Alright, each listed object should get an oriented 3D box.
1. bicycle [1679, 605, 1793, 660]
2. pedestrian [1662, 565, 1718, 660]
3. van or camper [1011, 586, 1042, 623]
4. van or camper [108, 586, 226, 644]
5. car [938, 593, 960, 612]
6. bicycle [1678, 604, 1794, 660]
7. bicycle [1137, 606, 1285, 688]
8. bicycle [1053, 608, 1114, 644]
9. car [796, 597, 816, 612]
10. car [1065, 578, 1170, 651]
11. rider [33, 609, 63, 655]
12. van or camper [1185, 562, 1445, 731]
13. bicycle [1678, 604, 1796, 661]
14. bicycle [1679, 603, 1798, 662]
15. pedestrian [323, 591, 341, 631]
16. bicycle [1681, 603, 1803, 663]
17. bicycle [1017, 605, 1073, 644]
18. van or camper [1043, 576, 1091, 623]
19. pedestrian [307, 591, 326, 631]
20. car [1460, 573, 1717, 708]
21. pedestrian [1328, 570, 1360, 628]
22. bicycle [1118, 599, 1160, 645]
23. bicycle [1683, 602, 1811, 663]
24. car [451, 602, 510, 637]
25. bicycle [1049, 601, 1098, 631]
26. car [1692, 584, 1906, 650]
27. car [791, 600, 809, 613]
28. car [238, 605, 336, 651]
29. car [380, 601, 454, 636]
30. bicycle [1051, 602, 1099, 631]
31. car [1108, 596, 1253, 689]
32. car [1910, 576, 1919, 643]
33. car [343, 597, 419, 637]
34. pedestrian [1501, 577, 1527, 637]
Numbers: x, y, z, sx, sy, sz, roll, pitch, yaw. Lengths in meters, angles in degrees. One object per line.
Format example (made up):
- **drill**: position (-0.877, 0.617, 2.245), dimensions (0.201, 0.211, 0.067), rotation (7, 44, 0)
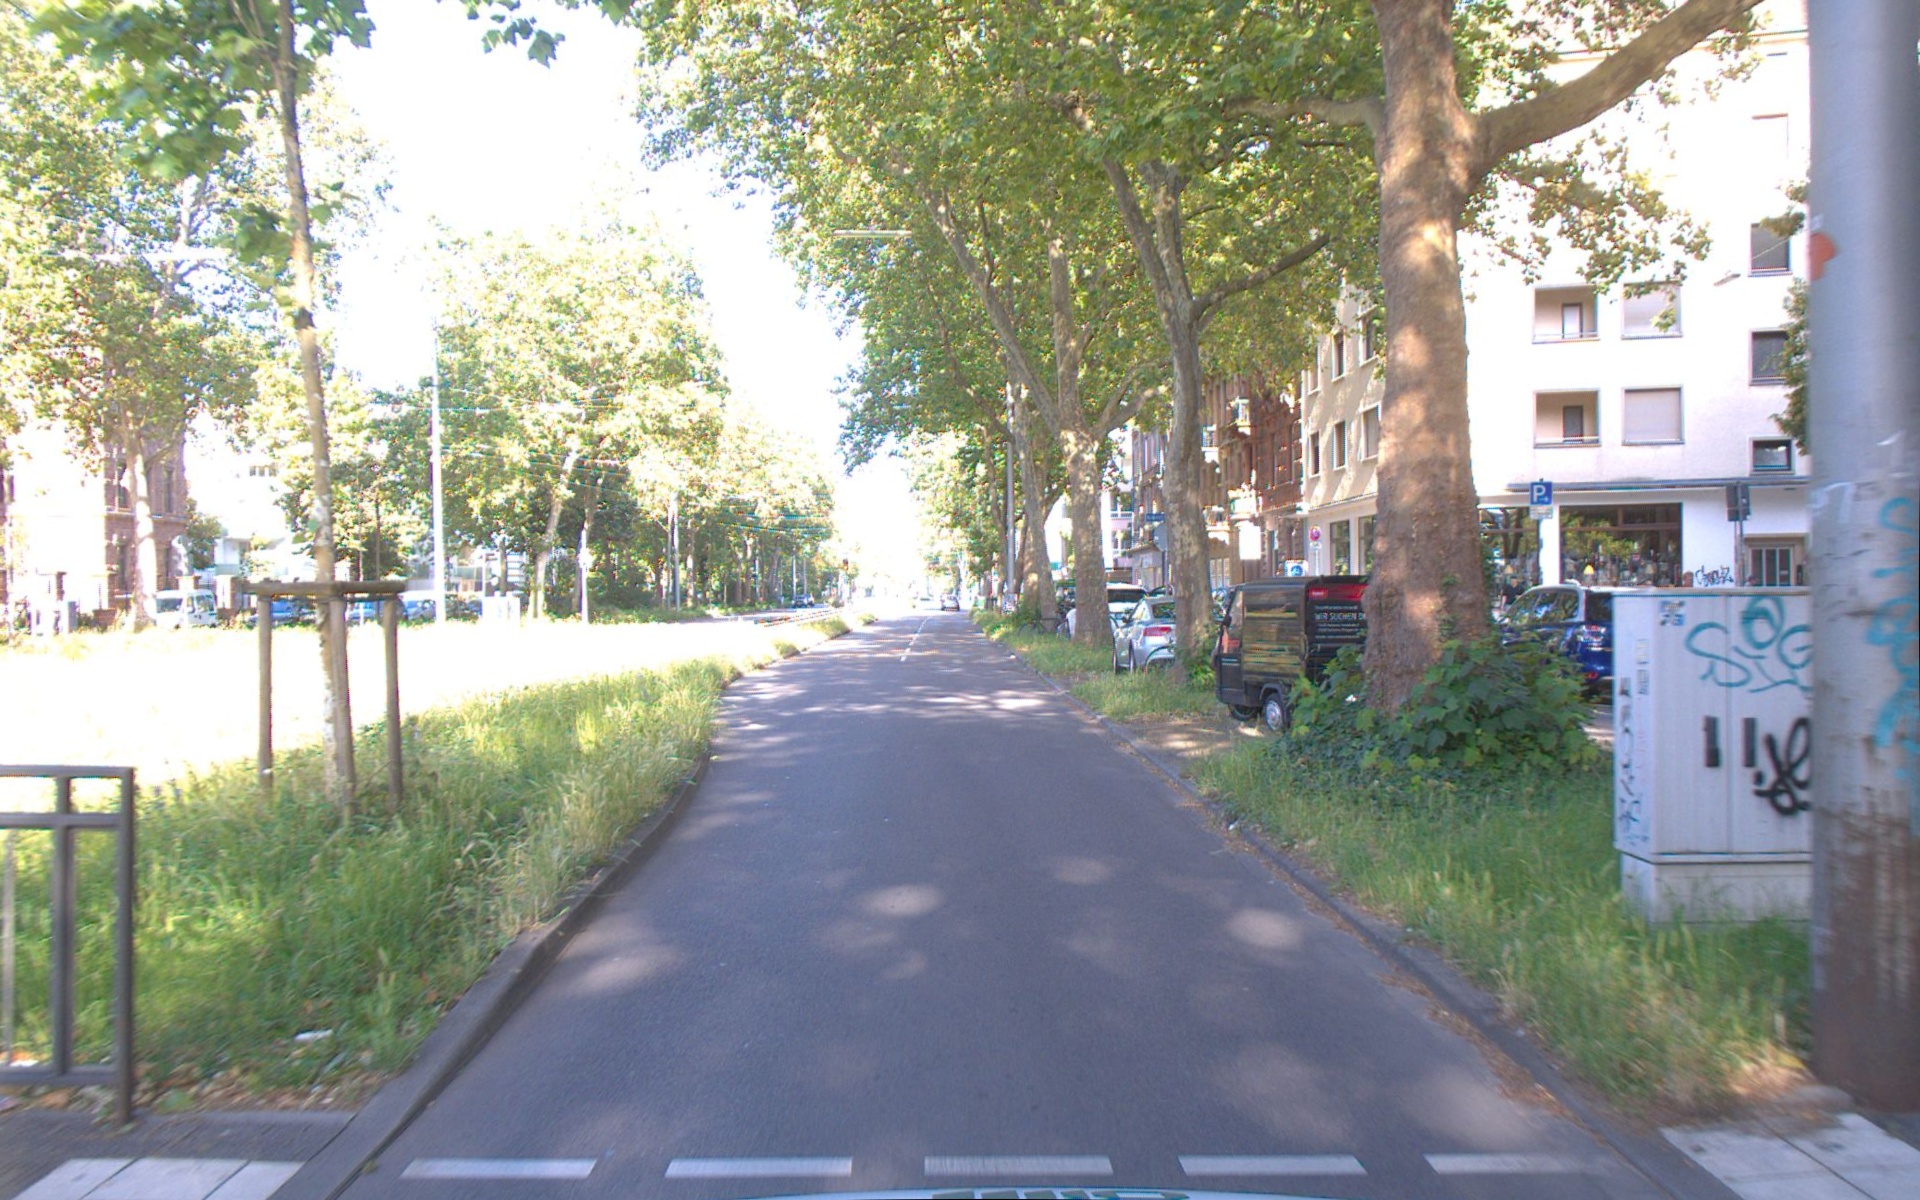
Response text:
- **bicycle**: position (15.958, 0.671, 34.077), dimensions (2.095, 1.123, 0.472), rotation (-1, 0, 24)
- **pedestrian**: position (13.156, 0.220, 29.828), dimensions (0.665, 1.680, 0.906), rotation (0, 0, 6)
- **van or camper**: position (4.776, 0.311, 118.835), dimensions (2.138, 2.524, 6.269), rotation (1, 0, 2)
- **van or camper**: position (-26.525, 0.489, 55.498), dimensions (1.954, 1.819, 4.430), rotation (-1, 0, -3)
- **car**: position (-1.061, 0.241, 155.963), dimensions (1.980, 1.691, 3.999), rotation (0, 0, -1)
- **bicycle**: position (15.745, 0.654, 33.598), dimensions (2.095, 1.123, 0.508), rotation (-1, 0, 24)
- **bicycle**: position (3.615, 0.668, 23.921), dimensions (2.028, 1.144, 0.676), rotation (-1, 0, -2)
- **bicycle**: position (3.387, 0.713, 45.195), dimensions (1.749, 0.944, 0.644), rotation (-1, 0, -42)
- **car**: position (-20.258, 0.621, 217.753), dimensions (1.953, 1.903, 4.872), rotation (-2, 0, 0)
- **car**: position (3.845, 0.336, 41.075), dimensions (1.865, 1.665, 4.821), rotation (-1, 0, -3)
- **rider**: position (-33.664, 1.159, 61.050), dimensions (0.713, 1.673, 0.686), rotation (-1, 0, -1)
- **van or camper**: position (3.659, 0.447, 17.453), dimensions (1.477, 1.616, 2.826), rotation (0, 0, -18)
- **bicycle**: position (15.521, 0.649, 33.082), dimensions (2.095, 1.123, 0.508), rotation (-1, 0, 24)
- **bicycle**: position (15.304, 0.637, 32.557), dimensions (2.095, 1.123, 0.508), rotation (-1, 0, 24)
- **pedestrian**: position (-32.588, 0.555, 85.810), dimensions (0.700, 2.049, 0.626), rotation (-1, 0, 0)
- **bicycle**: position (15.052, 0.631, 31.881), dimensions (2.095, 1.123, 0.508), rotation (-1, 0, 24)
- **bicycle**: position (2.450, 0.703, 47.534), dimensions (1.560, 1.077, 0.404), rotation (-1, 0, 6)
- **van or camper**: position (5.220, -0.011, 81.158), dimensions (1.797, 2.134, 4.772), rotation (2, 0, -2)
- **pedestrian**: position (-33.378, 0.556, 85.784), dimensions (0.700, 2.049, 0.626), rotation (-1, 0, 0)
- **car**: position (9.149, 0.546, 24.587), dimensions (1.782, 1.772, 5.166), rotation (-1, 0, -1)
- **pedestrian**: position (11.560, -0.029, 49.830), dimensions (0.779, 1.734, 0.724), rotation (-1, 0, -1)
- **bicycle**: position (3.811, 0.462, 35.344), dimensions (0.626, 0.941, 2.164), rotation (0, 0, -1)
- **bicycle**: position (14.853, 0.619, 31.276), dimensions (2.145, 1.123, 0.508), rotation (-1, 0, 24)
- **car**: position (-27.013, 1.077, 93.300), dimensions (2.066, 1.840, 4.736), rotation (-1, 0, -3)
- **bicycle**: position (5.079, 0.726, 74.027), dimensions (2.119, 1.317, 0.983), rotation (0, 0, 1)
- **car**: position (21.188, 0.434, 41.953), dimensions (4.488, 1.608, 2.002), rotation (0, 0, 14)
- **car**: position (-19.653, 0.806, 203.397), dimensions (1.759, 1.534, 4.338), rotation (-3, 0, 0)
- **car**: position (-26.859, 1.097, 66.161), dimensions (1.953, 1.678, 4.827), rotation (-1, 1, 0)
- **car**: position (-26.972, 0.918, 82.308), dimensions (1.952, 1.643, 4.422), rotation (-1, 0, 3)
- **bicycle**: position (5.218, 0.734, 75.179), dimensions (2.120, 1.317, 0.983), rotation (0, 0, -1)
- **car**: position (3.648, 0.663, 28.138), dimensions (1.718, 1.422, 5.025), rotation (0, 0, -1)
- **car**: position (25.995, 0.220, 40.558), dimensions (4.288, 1.673, 2.001), rotation (0, 0, 15)
- **car**: position (-26.834, 0.750, 76.818), dimensions (1.731, 1.749, 4.422), rotation (-1, 0, 3)
- **pedestrian**: position (15.732, 0.199, 46.962), dimensions (0.579, 1.678, 0.725), rotation (-1, 0, 10)
